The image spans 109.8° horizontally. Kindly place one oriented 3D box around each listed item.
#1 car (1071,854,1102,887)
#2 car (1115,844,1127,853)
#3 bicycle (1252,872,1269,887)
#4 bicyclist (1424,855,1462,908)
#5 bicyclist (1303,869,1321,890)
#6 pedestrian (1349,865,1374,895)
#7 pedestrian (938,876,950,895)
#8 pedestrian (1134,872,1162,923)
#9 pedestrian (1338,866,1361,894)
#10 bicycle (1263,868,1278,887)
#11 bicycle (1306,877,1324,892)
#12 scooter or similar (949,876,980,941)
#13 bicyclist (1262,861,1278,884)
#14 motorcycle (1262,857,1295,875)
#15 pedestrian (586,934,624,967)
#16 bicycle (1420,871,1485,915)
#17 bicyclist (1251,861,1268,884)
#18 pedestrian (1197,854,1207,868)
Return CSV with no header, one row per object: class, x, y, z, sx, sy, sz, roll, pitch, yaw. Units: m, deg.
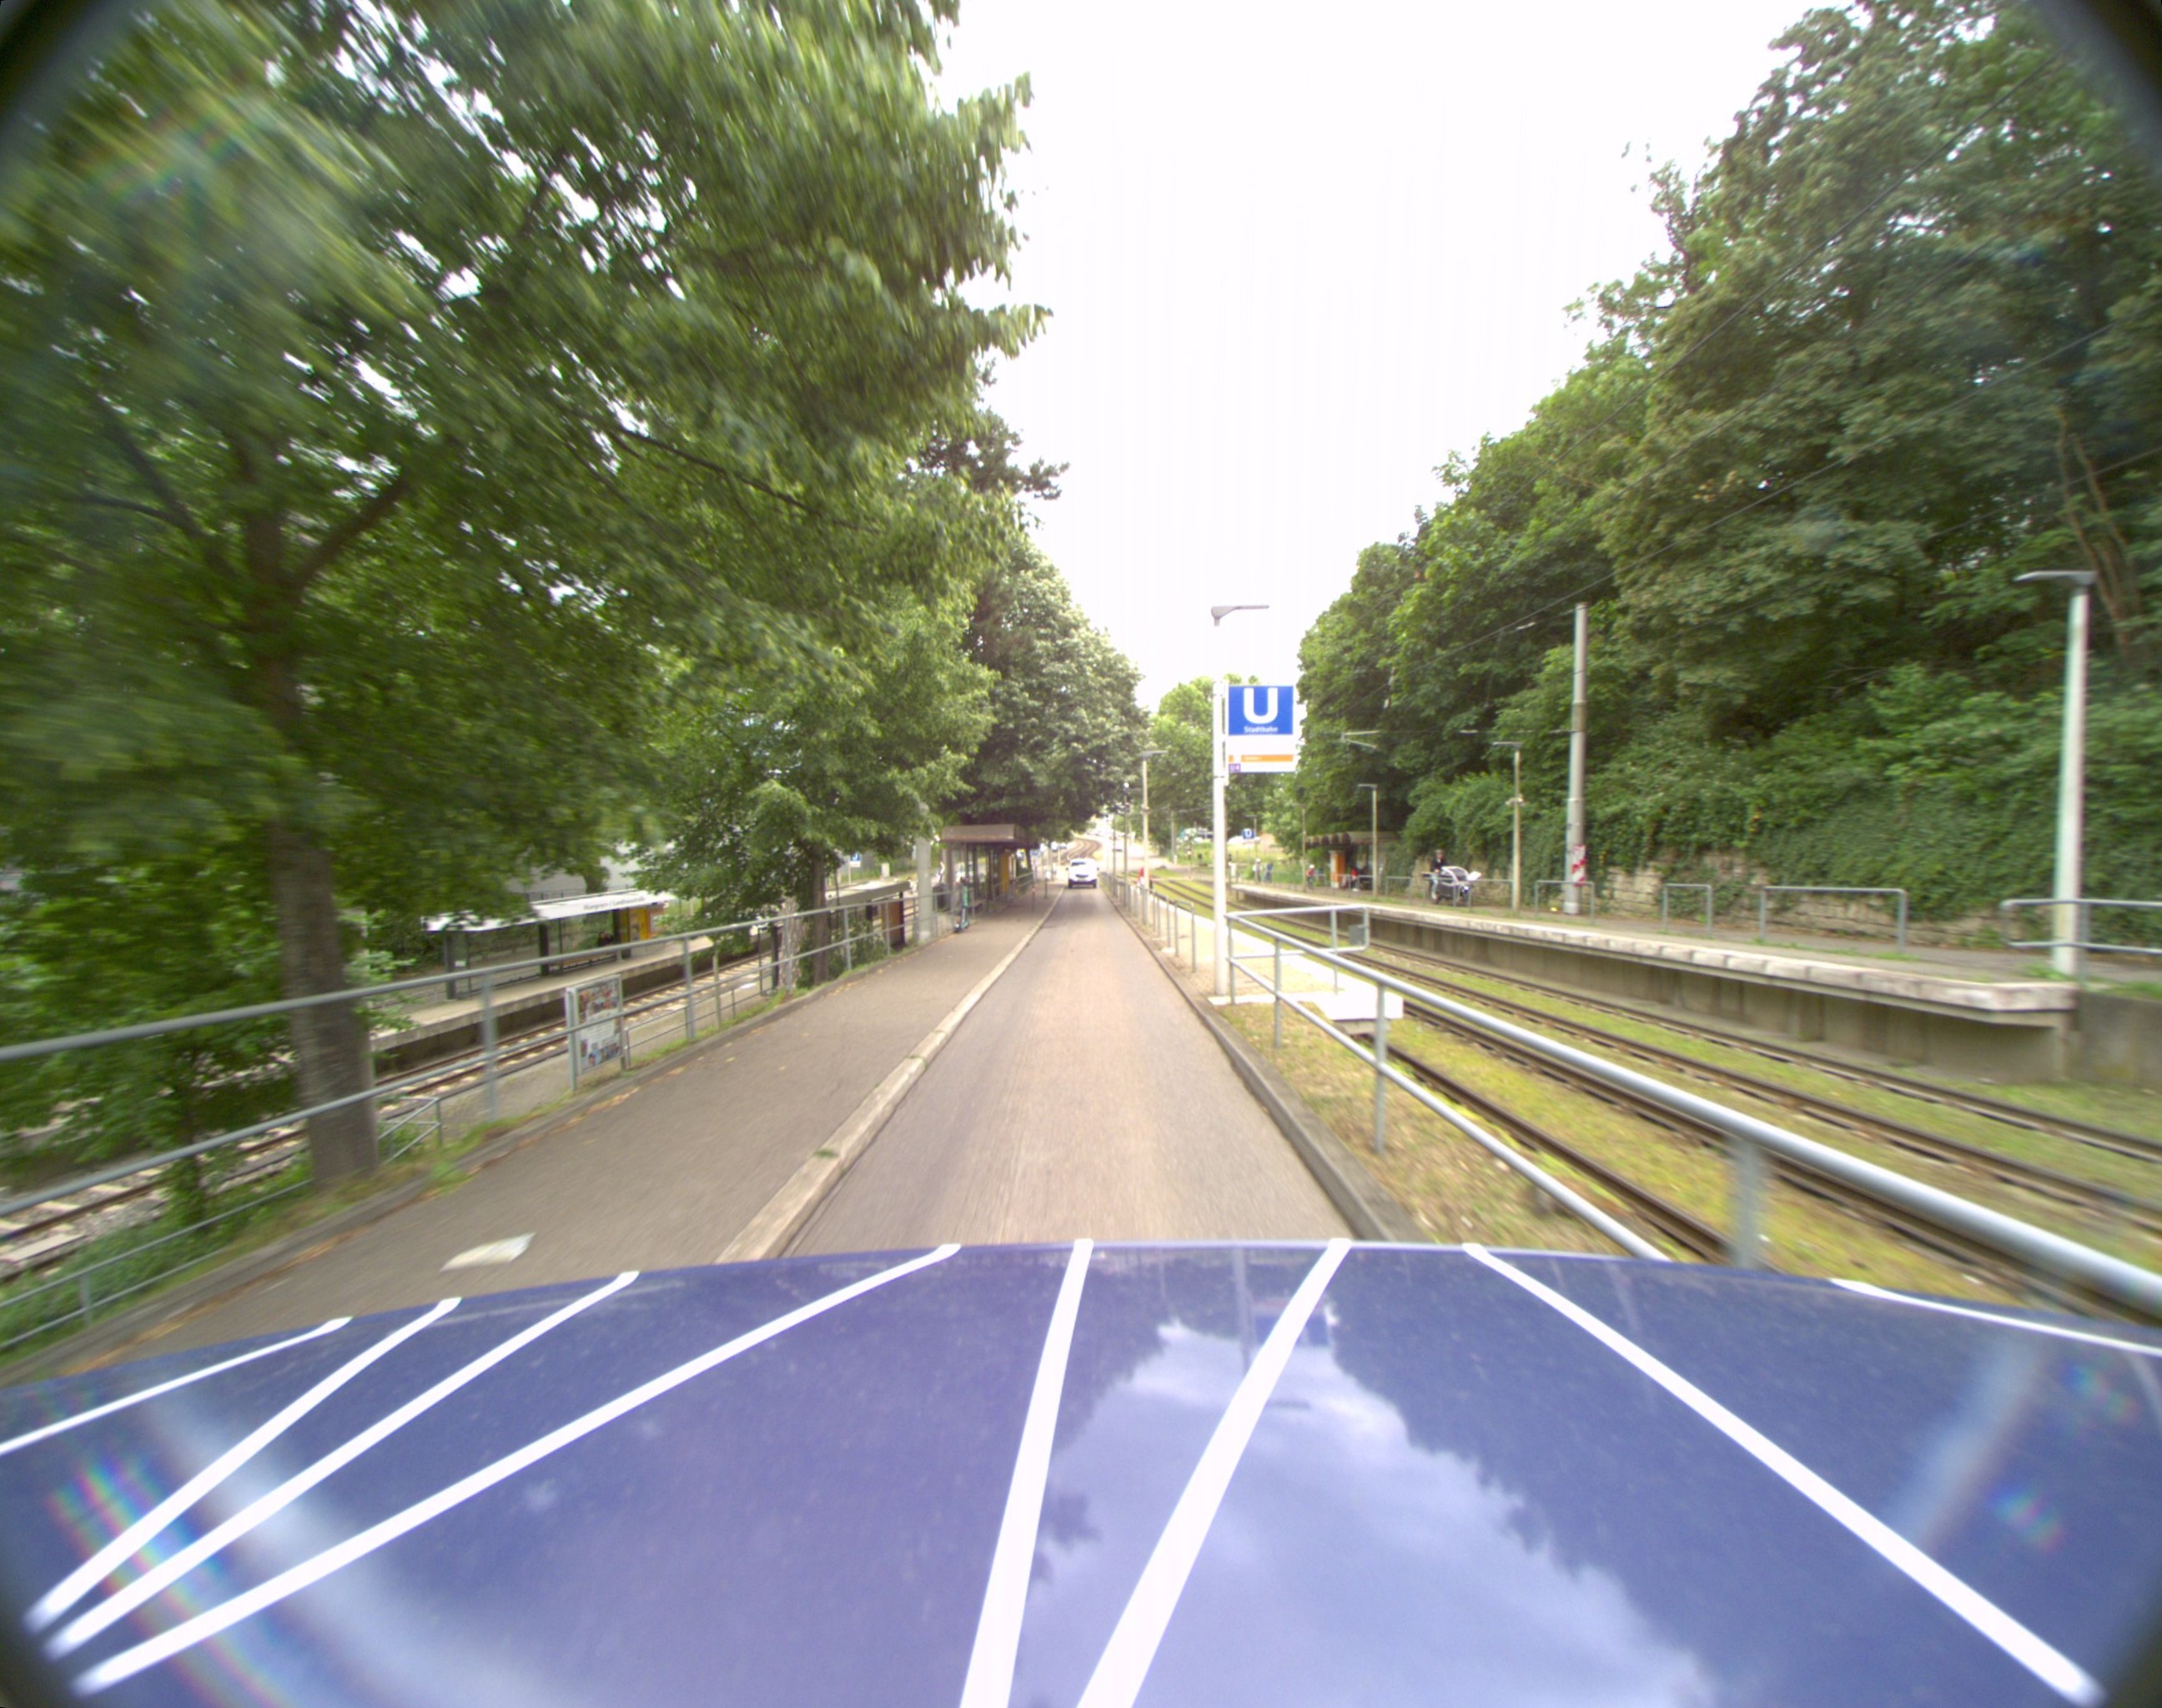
car,0.346,1.019,48.397,1.810,1.910,4.478,-2,1,1
car,7.937,-1.014,149.570,1.997,1.648,4.002,-2,1,7
bicycle,11.501,1.621,48.691,0.479,0.919,1.844,-2,-2,-5
bicyclist,11.547,0.863,24.258,0.706,1.619,1.033,-3,-1,4
bicyclist,12.094,1.322,39.733,0.691,1.047,0.744,-2,-1,0
pedestrian,13.381,1.252,36.271,0.823,1.367,0.774,-2,1,-5
pedestrian,-12.375,2.847,68.677,0.752,1.666,0.684,-2,1,12
pedestrian,2.021,1.307,22.971,0.739,1.493,0.627,-2,-1,1
pedestrian,13.237,1.282,37.484,0.823,1.315,0.774,-2,1,-5
bicycle,12.114,1.470,48.633,0.464,1.181,1.940,-2,-1,0
bicycle,12.140,1.578,39.489,0.451,0.776,1.565,-2,-1,1
scooter or similar,-2.670,1.224,17.473,0.431,1.376,1.455,-2,1,0
bicyclist,12.114,1.155,48.693,0.732,1.434,0.840,-2,-1,-1
motorcycle,19.441,1.162,74.687,3.063,1.543,1.257,-2,1,-27
pedestrian,-18.724,3.776,29.898,0.778,1.160,0.954,-2,1,7
bicycle,11.518,1.164,23.667,0.752,1.232,2.868,-3,-1,4
bicyclist,11.412,1.185,48.673,0.747,1.422,0.907,-2,-1,-5
pedestrian,15.435,0.921,96.790,1.116,1.724,0.694,-2,1,12
